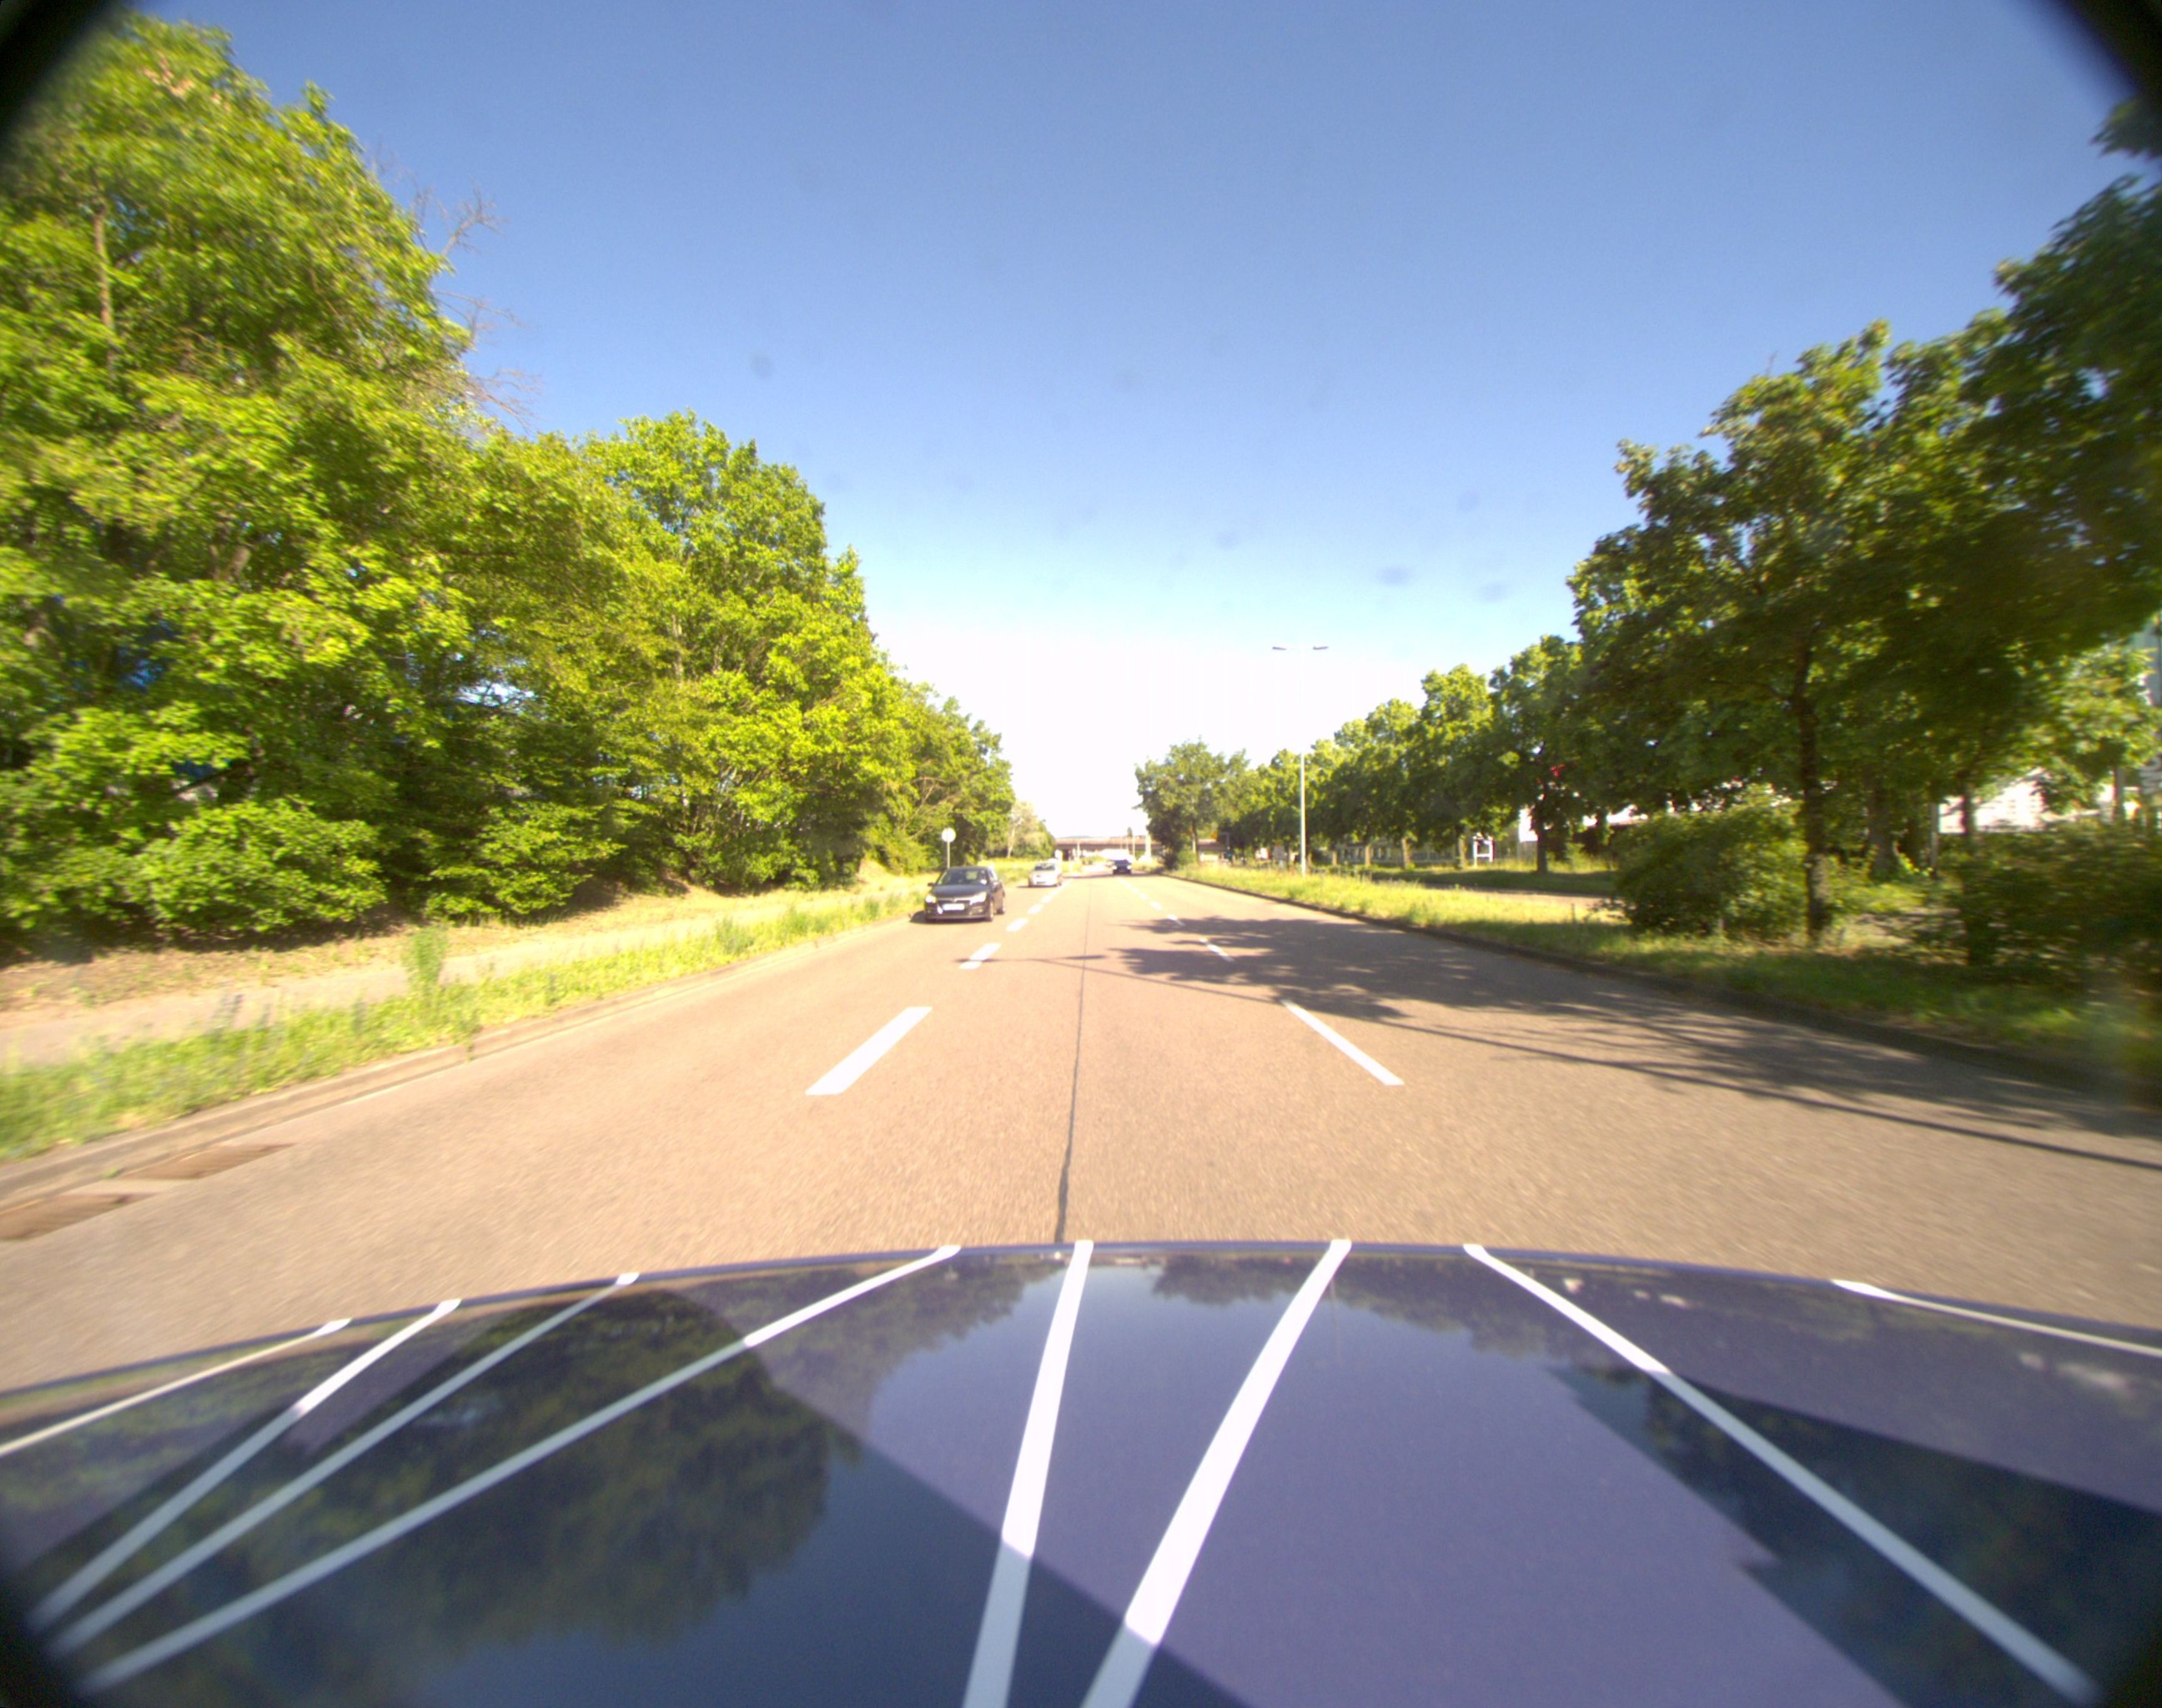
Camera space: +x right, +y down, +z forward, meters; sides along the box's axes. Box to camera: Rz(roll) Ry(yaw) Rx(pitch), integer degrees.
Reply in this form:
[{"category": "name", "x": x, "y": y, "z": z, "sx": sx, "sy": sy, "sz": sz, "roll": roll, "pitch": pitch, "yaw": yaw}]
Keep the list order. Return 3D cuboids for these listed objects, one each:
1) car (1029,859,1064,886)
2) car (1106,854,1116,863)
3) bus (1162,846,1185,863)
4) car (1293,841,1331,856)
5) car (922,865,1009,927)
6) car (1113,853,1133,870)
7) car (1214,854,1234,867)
[{"category": "car", "x": -2.052, "y": 1.073, "z": 46.158, "sx": 1.827, "sy": 1.528, "sz": 4.042, "roll": -1, "pitch": 0, "yaw": 1}, {"category": "car", "x": 5.433, "y": 0.751, "z": 138.182, "sx": 1.827, "sy": 1.528, "sz": 4.042, "roll": -1, "pitch": 0, "yaw": 1}, {"category": "bus", "x": 16.019, "y": 0.115, "z": 132.511, "sx": 2.728, "sy": 2.705, "sz": 11.088, "roll": 2, "pitch": 0, "yaw": 1}, {"category": "car", "x": 40.287, "y": -0.957, "z": 132.527, "sx": 5.893, "sy": 2.419, "sz": 2.206, "roll": 0, "pitch": 0, "yaw": -2}, {"category": "car", "x": -3.056, "y": 1.074, "z": 20.779, "sx": 1.707, "sy": 1.446, "sz": 3.959, "roll": -1, "pitch": 0, "yaw": 1}, {"category": "car", "x": 4.048, "y": 0.709, "z": 73.682, "sx": 1.827, "sy": 1.528, "sz": 4.042, "roll": -1, "pitch": 0, "yaw": 1}, {"category": "car", "x": 18.136, "y": 0.826, "z": 96.814, "sx": 1.760, "sy": 1.511, "sz": 4.530, "roll": 1, "pitch": 0, "yaw": 1}]
